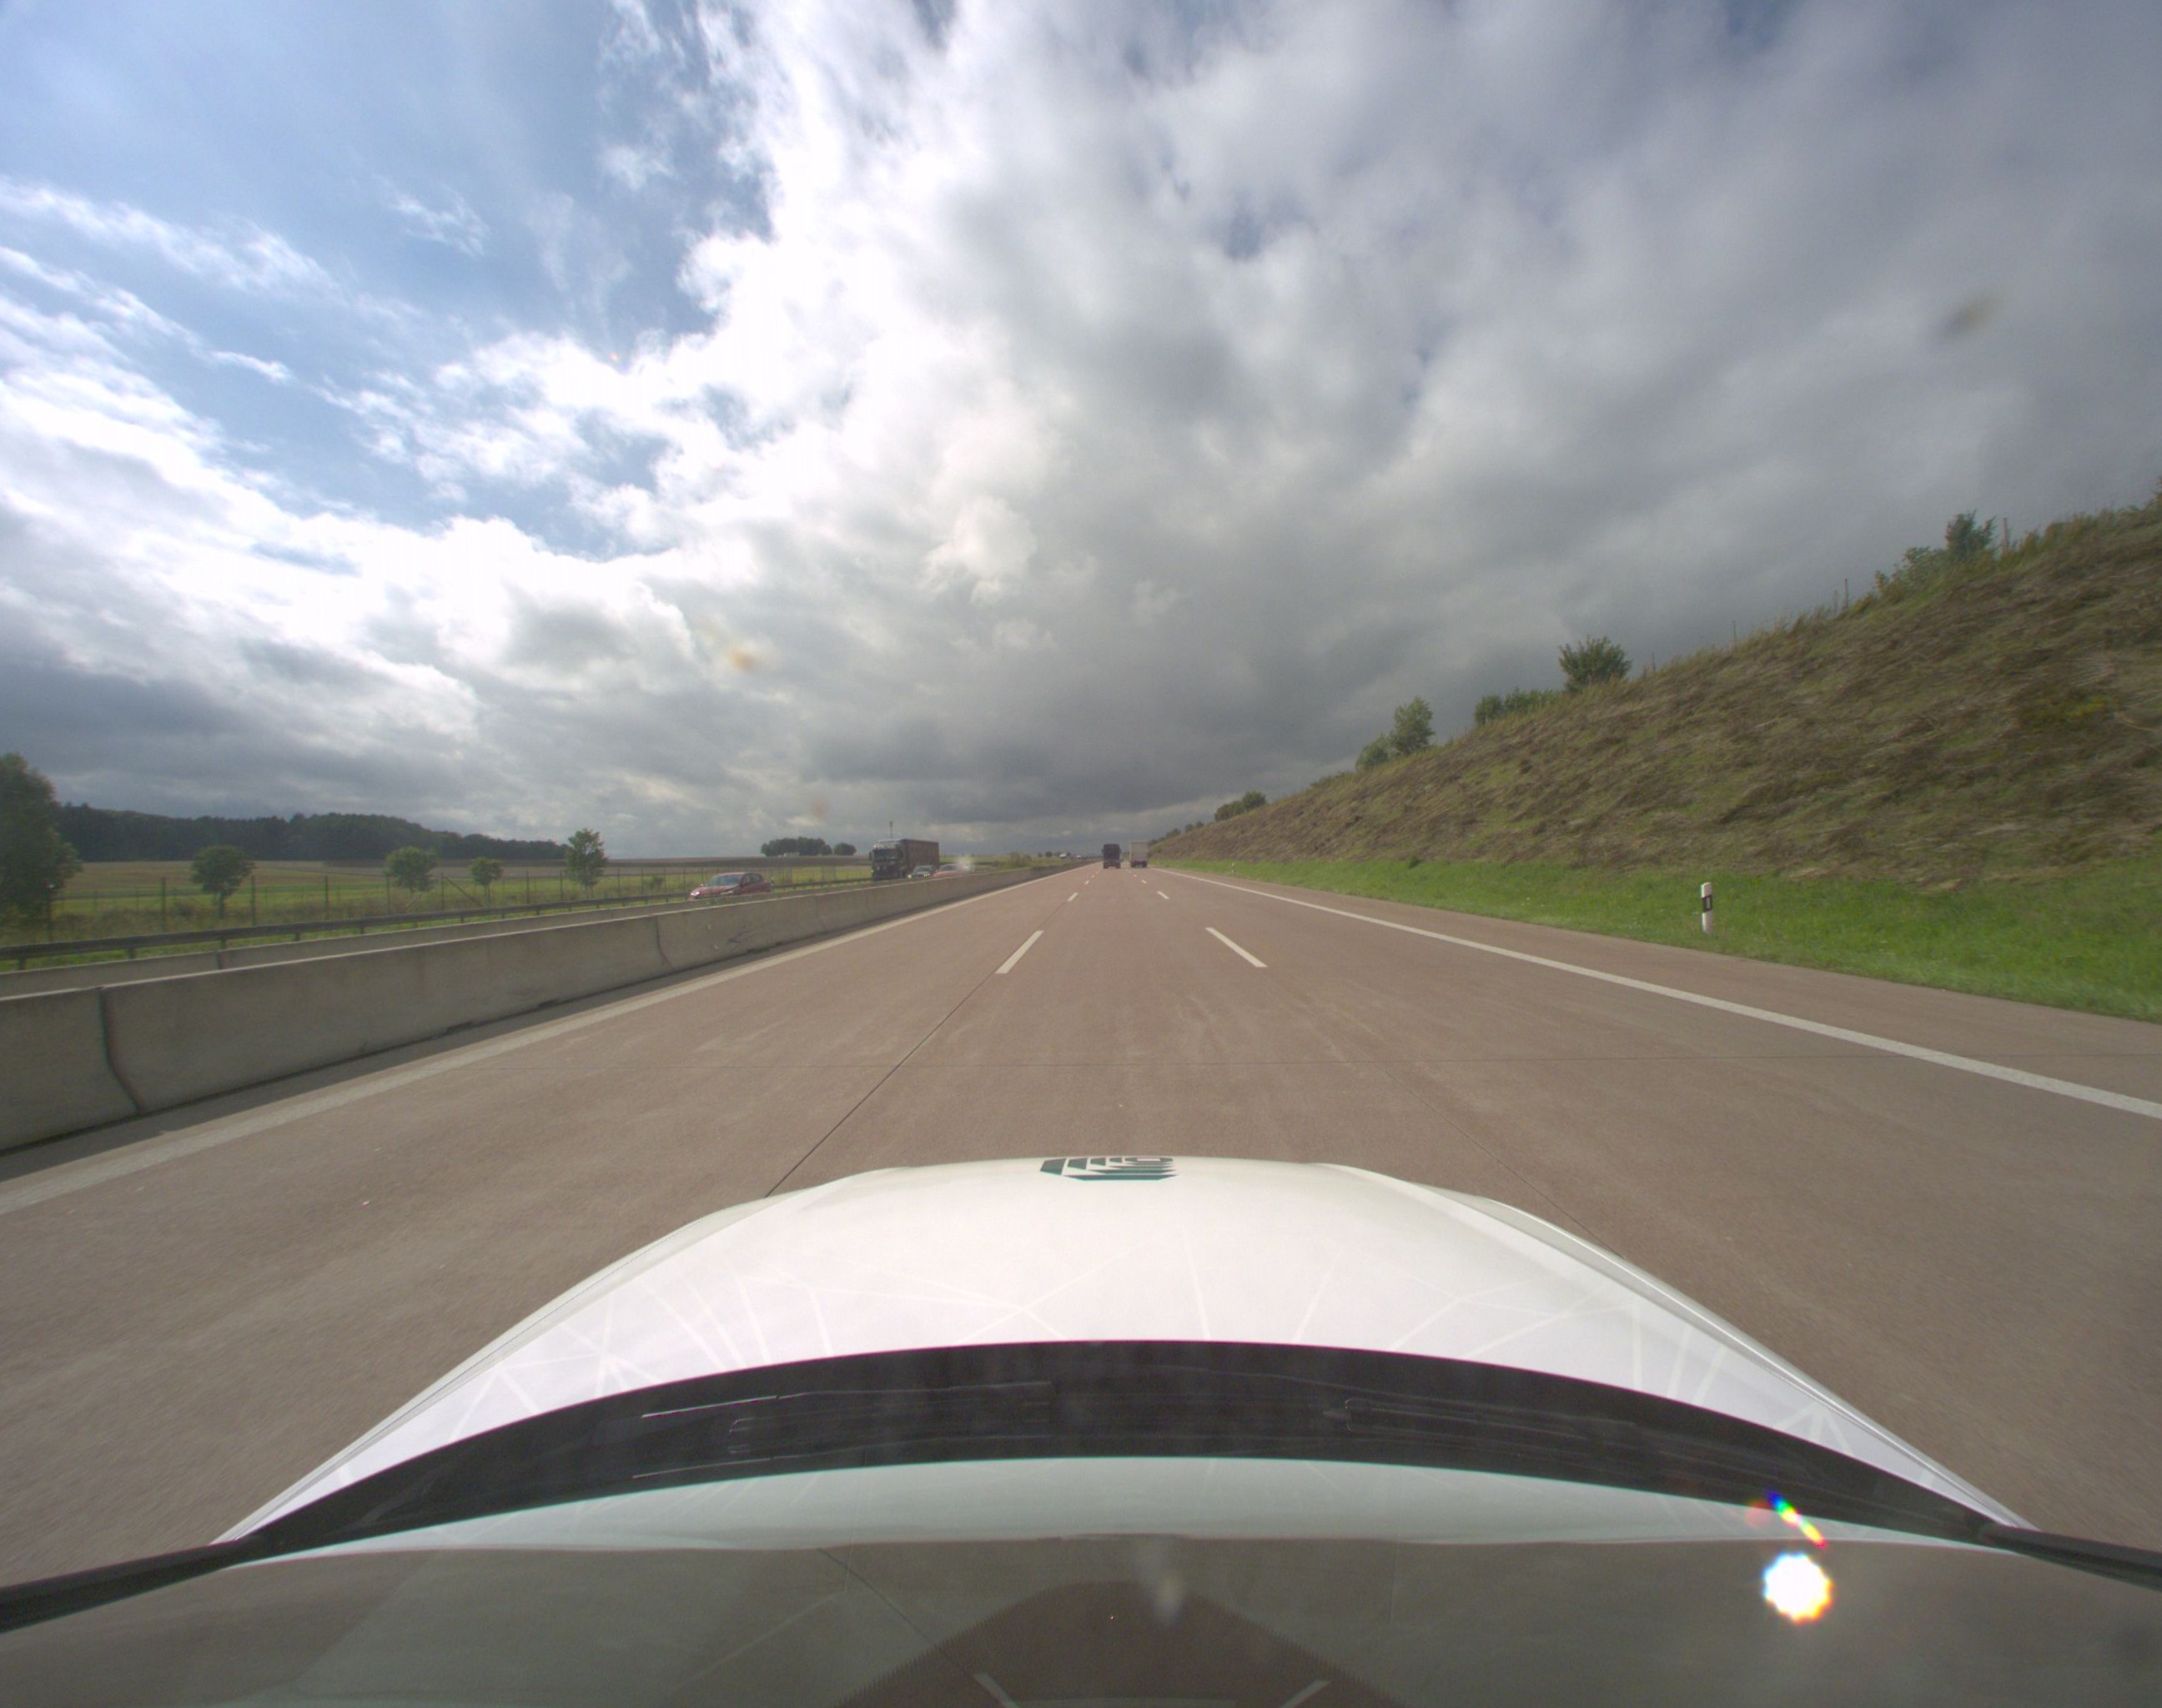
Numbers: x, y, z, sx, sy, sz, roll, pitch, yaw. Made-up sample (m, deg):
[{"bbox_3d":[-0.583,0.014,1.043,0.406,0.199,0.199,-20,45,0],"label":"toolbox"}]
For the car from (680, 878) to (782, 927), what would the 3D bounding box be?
[{"bbox_3d":[-13.624,1.831,31.996,1.965,1.662,4.492,0,0,1],"label":"car"}]

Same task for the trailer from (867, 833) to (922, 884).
[{"bbox_3d":[-16.368,0.383,72.074,2.995,4.248,7.013,0,0,2],"label":"trailer"}]

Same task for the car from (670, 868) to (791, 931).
[{"bbox_3d":[-7.143,0.890,16.824,1.218,1.152,2.759,0,0,2],"label":"car"}]

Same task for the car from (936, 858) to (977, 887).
[{"bbox_3d":[-8.963,1.322,59.190,1.986,1.982,5.220,0,0,2],"label":"car"}]

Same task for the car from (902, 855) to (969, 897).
[{"bbox_3d":[-6.051,0.864,34.379,1.965,1.662,4.084,0,0,2],"label":"car"}]

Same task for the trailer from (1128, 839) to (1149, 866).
[{"bbox_3d":[8.942,-0.239,127.023,2.738,4.012,8.669,-1,-1,0],"label":"trailer"}]

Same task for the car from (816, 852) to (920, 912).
[{"bbox_3d":[-6.408,0.787,25.009,1.877,1.662,4.435,0,0,2],"label":"car"}]

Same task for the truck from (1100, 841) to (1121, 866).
[{"bbox_3d":[4.364,-0.084,120.827,2.838,3.550,8.319,-1,-1,0],"label":"truck"}]

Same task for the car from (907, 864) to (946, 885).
[{"bbox_3d":[-12.275,1.592,65.184,1.986,1.575,5.220,0,0,2],"label":"car"}]
